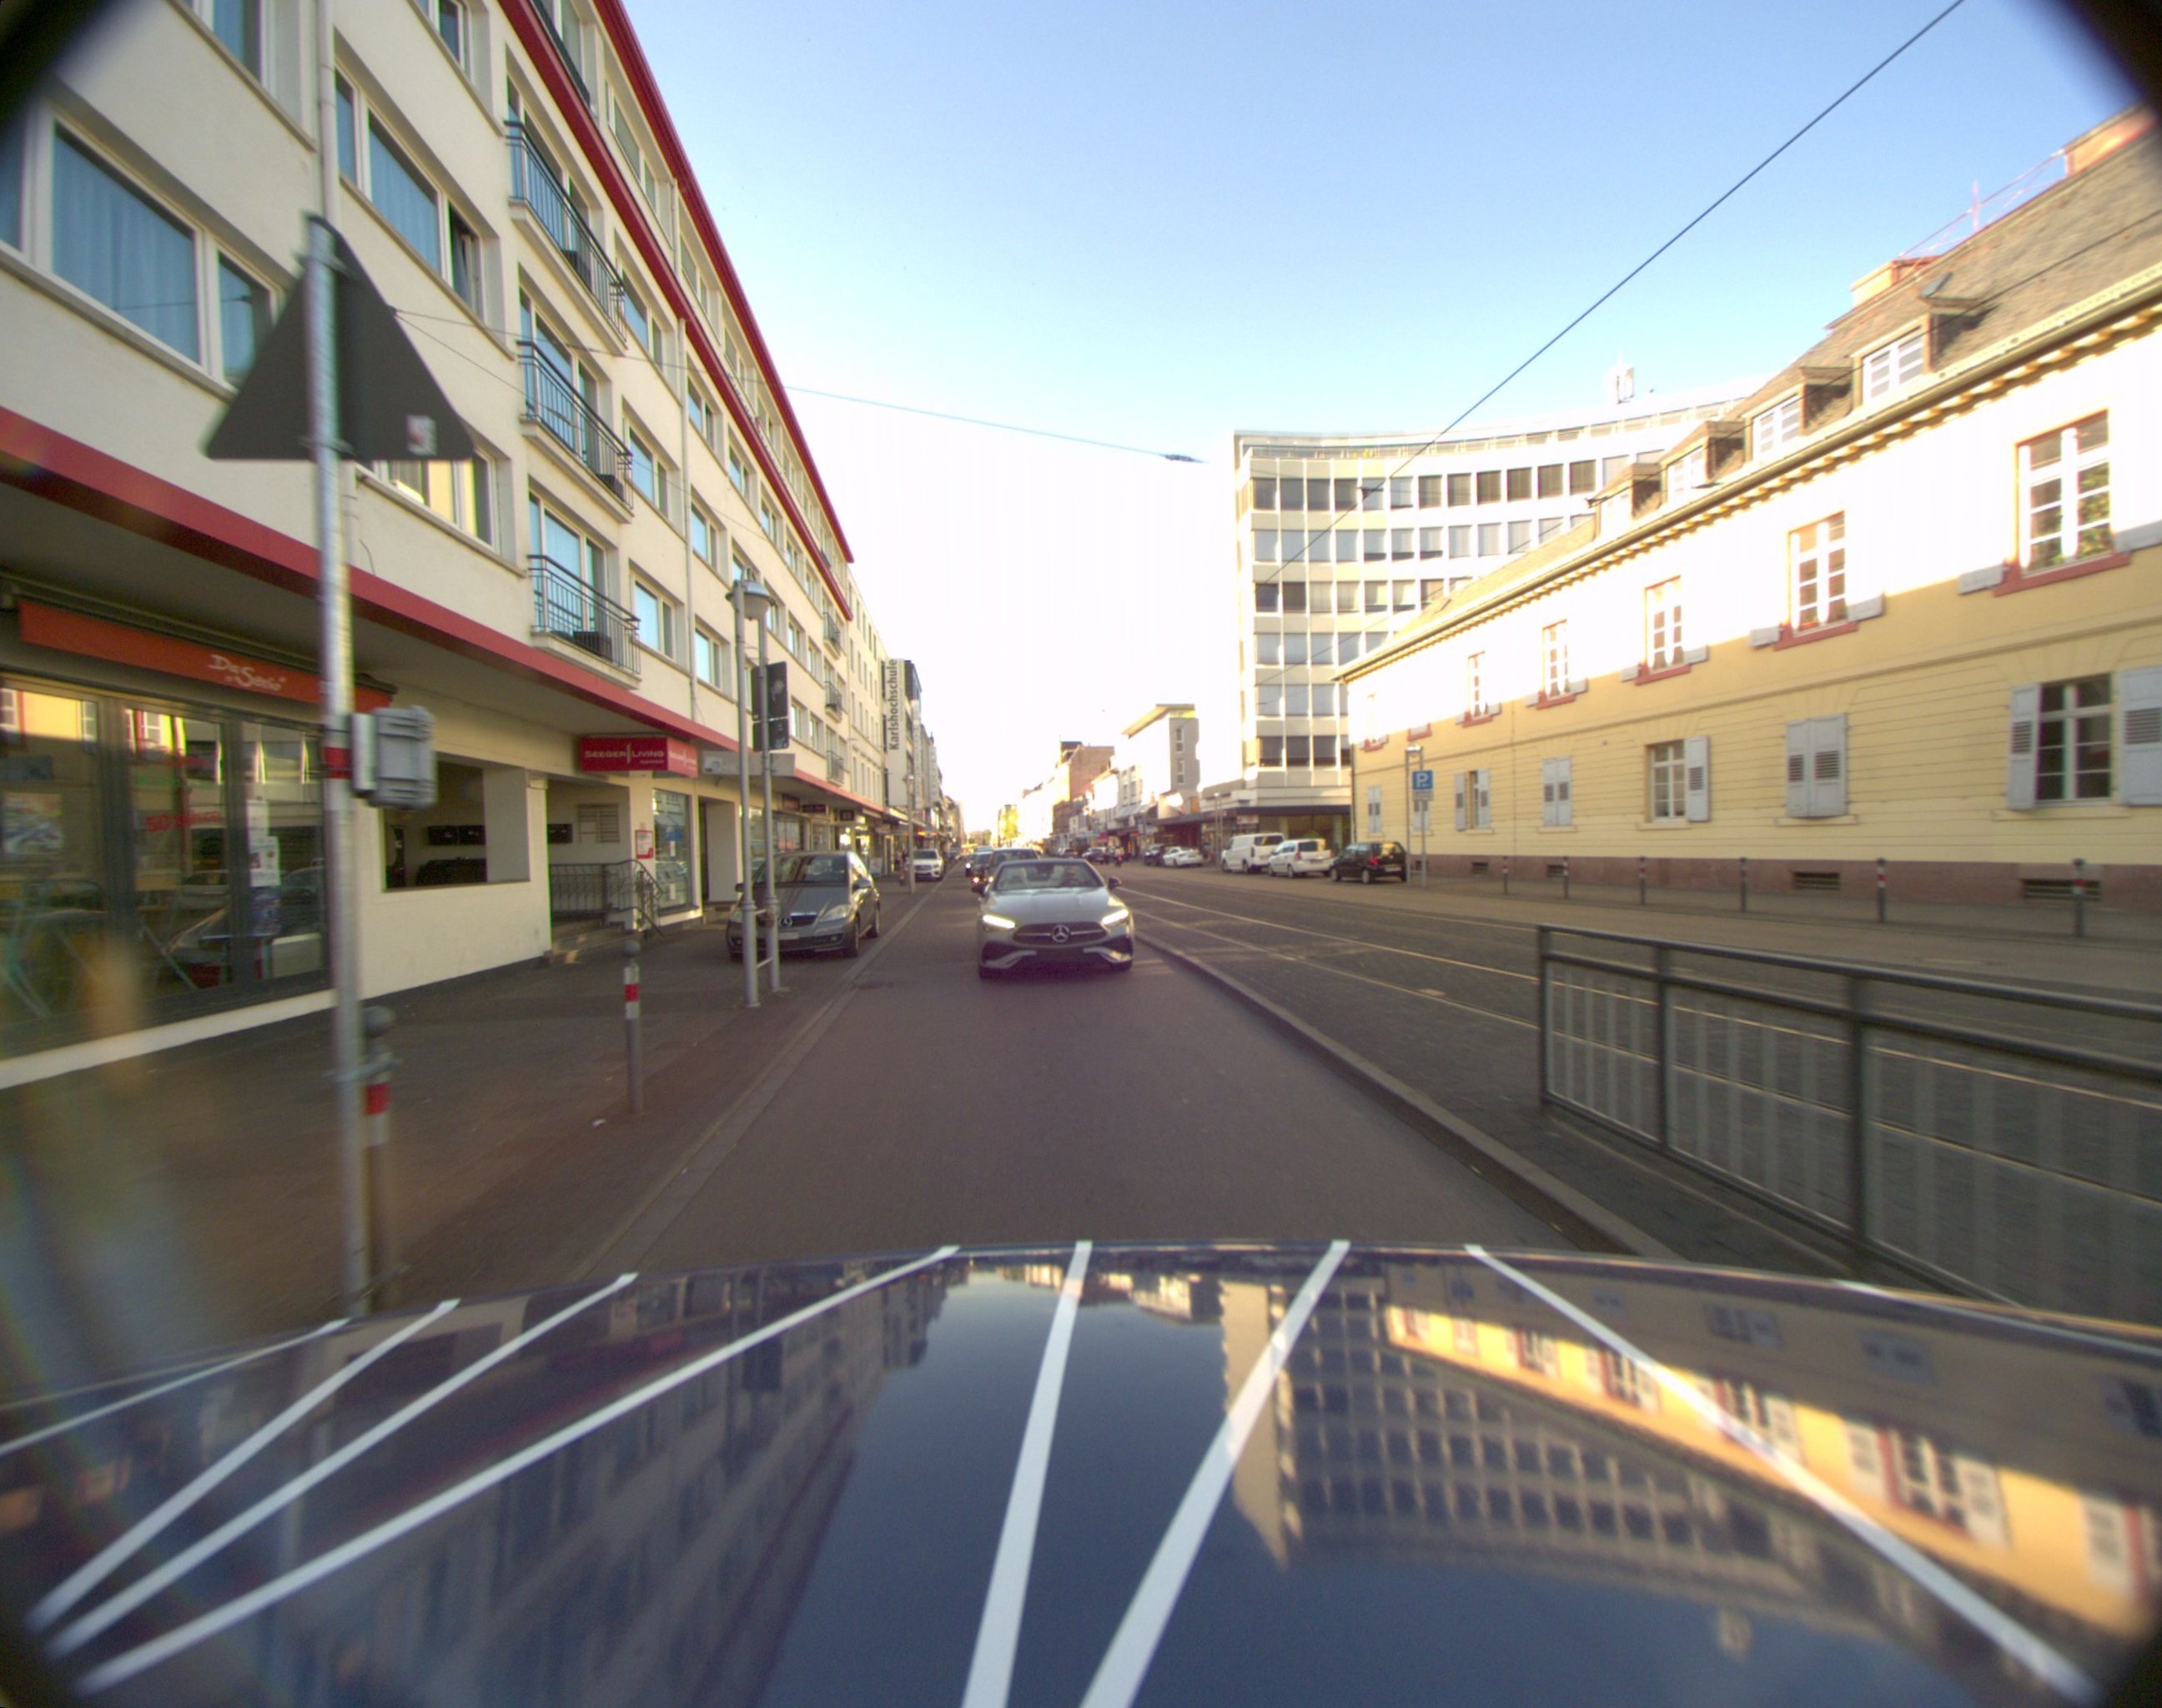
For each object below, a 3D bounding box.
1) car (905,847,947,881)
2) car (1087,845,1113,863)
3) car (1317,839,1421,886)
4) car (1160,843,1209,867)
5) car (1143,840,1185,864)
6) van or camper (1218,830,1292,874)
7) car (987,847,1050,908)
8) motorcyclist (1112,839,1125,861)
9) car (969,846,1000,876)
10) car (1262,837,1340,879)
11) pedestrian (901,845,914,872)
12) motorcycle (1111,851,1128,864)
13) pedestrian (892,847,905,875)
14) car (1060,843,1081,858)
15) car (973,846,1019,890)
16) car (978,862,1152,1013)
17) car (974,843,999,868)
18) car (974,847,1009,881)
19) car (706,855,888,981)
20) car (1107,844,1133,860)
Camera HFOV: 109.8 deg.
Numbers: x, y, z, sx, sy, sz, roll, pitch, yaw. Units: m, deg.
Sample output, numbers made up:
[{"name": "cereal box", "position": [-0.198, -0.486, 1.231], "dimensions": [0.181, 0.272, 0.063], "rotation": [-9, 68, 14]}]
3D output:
[{"name": "car", "position": [-7.974, 0.469, 39.349], "dimensions": [1.784, 1.654, 4.159], "rotation": [0, 1, -7]}, {"name": "car", "position": [1.653, -0.059, 66.453], "dimensions": [1.782, 1.501, 4.667], "rotation": [0, 1, -4]}, {"name": "car", "position": [10.163, 0.241, 27.138], "dimensions": [1.782, 1.431, 3.957], "rotation": [-3, 2, -7]}, {"name": "car", "position": [6.999, 0.028, 51.815], "dimensions": [1.932, 1.444, 4.288], "rotation": [-4, 2, -11]}, {"name": "car", "position": [6.223, -0.157, 57.318], "dimensions": [1.932, 1.633, 4.277], "rotation": [-4, 2, -10]}, {"name": "van or camper", "position": [8.736, -0.150, 38.555], "dimensions": [1.961, 1.962, 4.792], "rotation": [-3, 2, -8]}, {"name": "car", "position": [-1.985, 0.629, 23.107], "dimensions": [1.738, 1.654, 3.957], "rotation": [0, 1, -7]}, {"name": "motorcyclist", "position": [2.811, -0.303, 56.929], "dimensions": [0.654, 1.550, 0.883], "rotation": [-2, 2, -15]}, {"name": "car", "position": [-5.673, 0.394, 44.661], "dimensions": [1.738, 1.654, 3.778], "rotation": [0, 1, -7]}, {"name": "car", "position": [9.425, 0.105, 32.915], "dimensions": [1.782, 1.611, 4.173], "rotation": [-3, 2, -5]}, {"name": "pedestrian", "position": [-11.813, 0.319, 51.670], "dimensions": [0.738, 1.807, 0.748], "rotation": [-2, 2, -9]}, {"name": "motorcycle", "position": [2.861, 0.256, 56.873], "dimensions": [0.601, 0.921, 2.153], "rotation": [-2, 2, -14]}, {"name": "pedestrian", "position": [-11.969, 0.444, 49.946], "dimensions": [0.706, 1.807, 0.807], "rotation": [-2, 2, -9]}, {"name": "car", "position": [-1.181, -0.401, 83.196], "dimensions": [1.782, 1.501, 3.857], "rotation": [-1, 1, -8]}, {"name": "car", "position": [-3.596, 0.533, 31.863], "dimensions": [1.784, 1.654, 3.957], "rotation": [0, 1, -7]}, {"name": "car", "position": [-0.443, 0.906, 10.487], "dimensions": [1.870, 1.431, 4.770], "rotation": [0, 1, -7]}, {"name": "car", "position": [-6.758, 0.087, 54.487], "dimensions": [1.738, 1.654, 3.957], "rotation": [0, 1, -7]}, {"name": "car", "position": [-4.769, 0.477, 40.376], "dimensions": [1.738, 1.654, 3.957], "rotation": [0, 1, -7]}, {"name": "car", "position": [-4.246, 0.843, 12.029], "dimensions": [1.782, 1.560, 3.957], "rotation": [0, 1, -7]}, {"name": "car", "position": [3.818, -0.231, 74.656], "dimensions": [1.787, 1.409, 3.594], "rotation": [-2, 1, -9]}]
